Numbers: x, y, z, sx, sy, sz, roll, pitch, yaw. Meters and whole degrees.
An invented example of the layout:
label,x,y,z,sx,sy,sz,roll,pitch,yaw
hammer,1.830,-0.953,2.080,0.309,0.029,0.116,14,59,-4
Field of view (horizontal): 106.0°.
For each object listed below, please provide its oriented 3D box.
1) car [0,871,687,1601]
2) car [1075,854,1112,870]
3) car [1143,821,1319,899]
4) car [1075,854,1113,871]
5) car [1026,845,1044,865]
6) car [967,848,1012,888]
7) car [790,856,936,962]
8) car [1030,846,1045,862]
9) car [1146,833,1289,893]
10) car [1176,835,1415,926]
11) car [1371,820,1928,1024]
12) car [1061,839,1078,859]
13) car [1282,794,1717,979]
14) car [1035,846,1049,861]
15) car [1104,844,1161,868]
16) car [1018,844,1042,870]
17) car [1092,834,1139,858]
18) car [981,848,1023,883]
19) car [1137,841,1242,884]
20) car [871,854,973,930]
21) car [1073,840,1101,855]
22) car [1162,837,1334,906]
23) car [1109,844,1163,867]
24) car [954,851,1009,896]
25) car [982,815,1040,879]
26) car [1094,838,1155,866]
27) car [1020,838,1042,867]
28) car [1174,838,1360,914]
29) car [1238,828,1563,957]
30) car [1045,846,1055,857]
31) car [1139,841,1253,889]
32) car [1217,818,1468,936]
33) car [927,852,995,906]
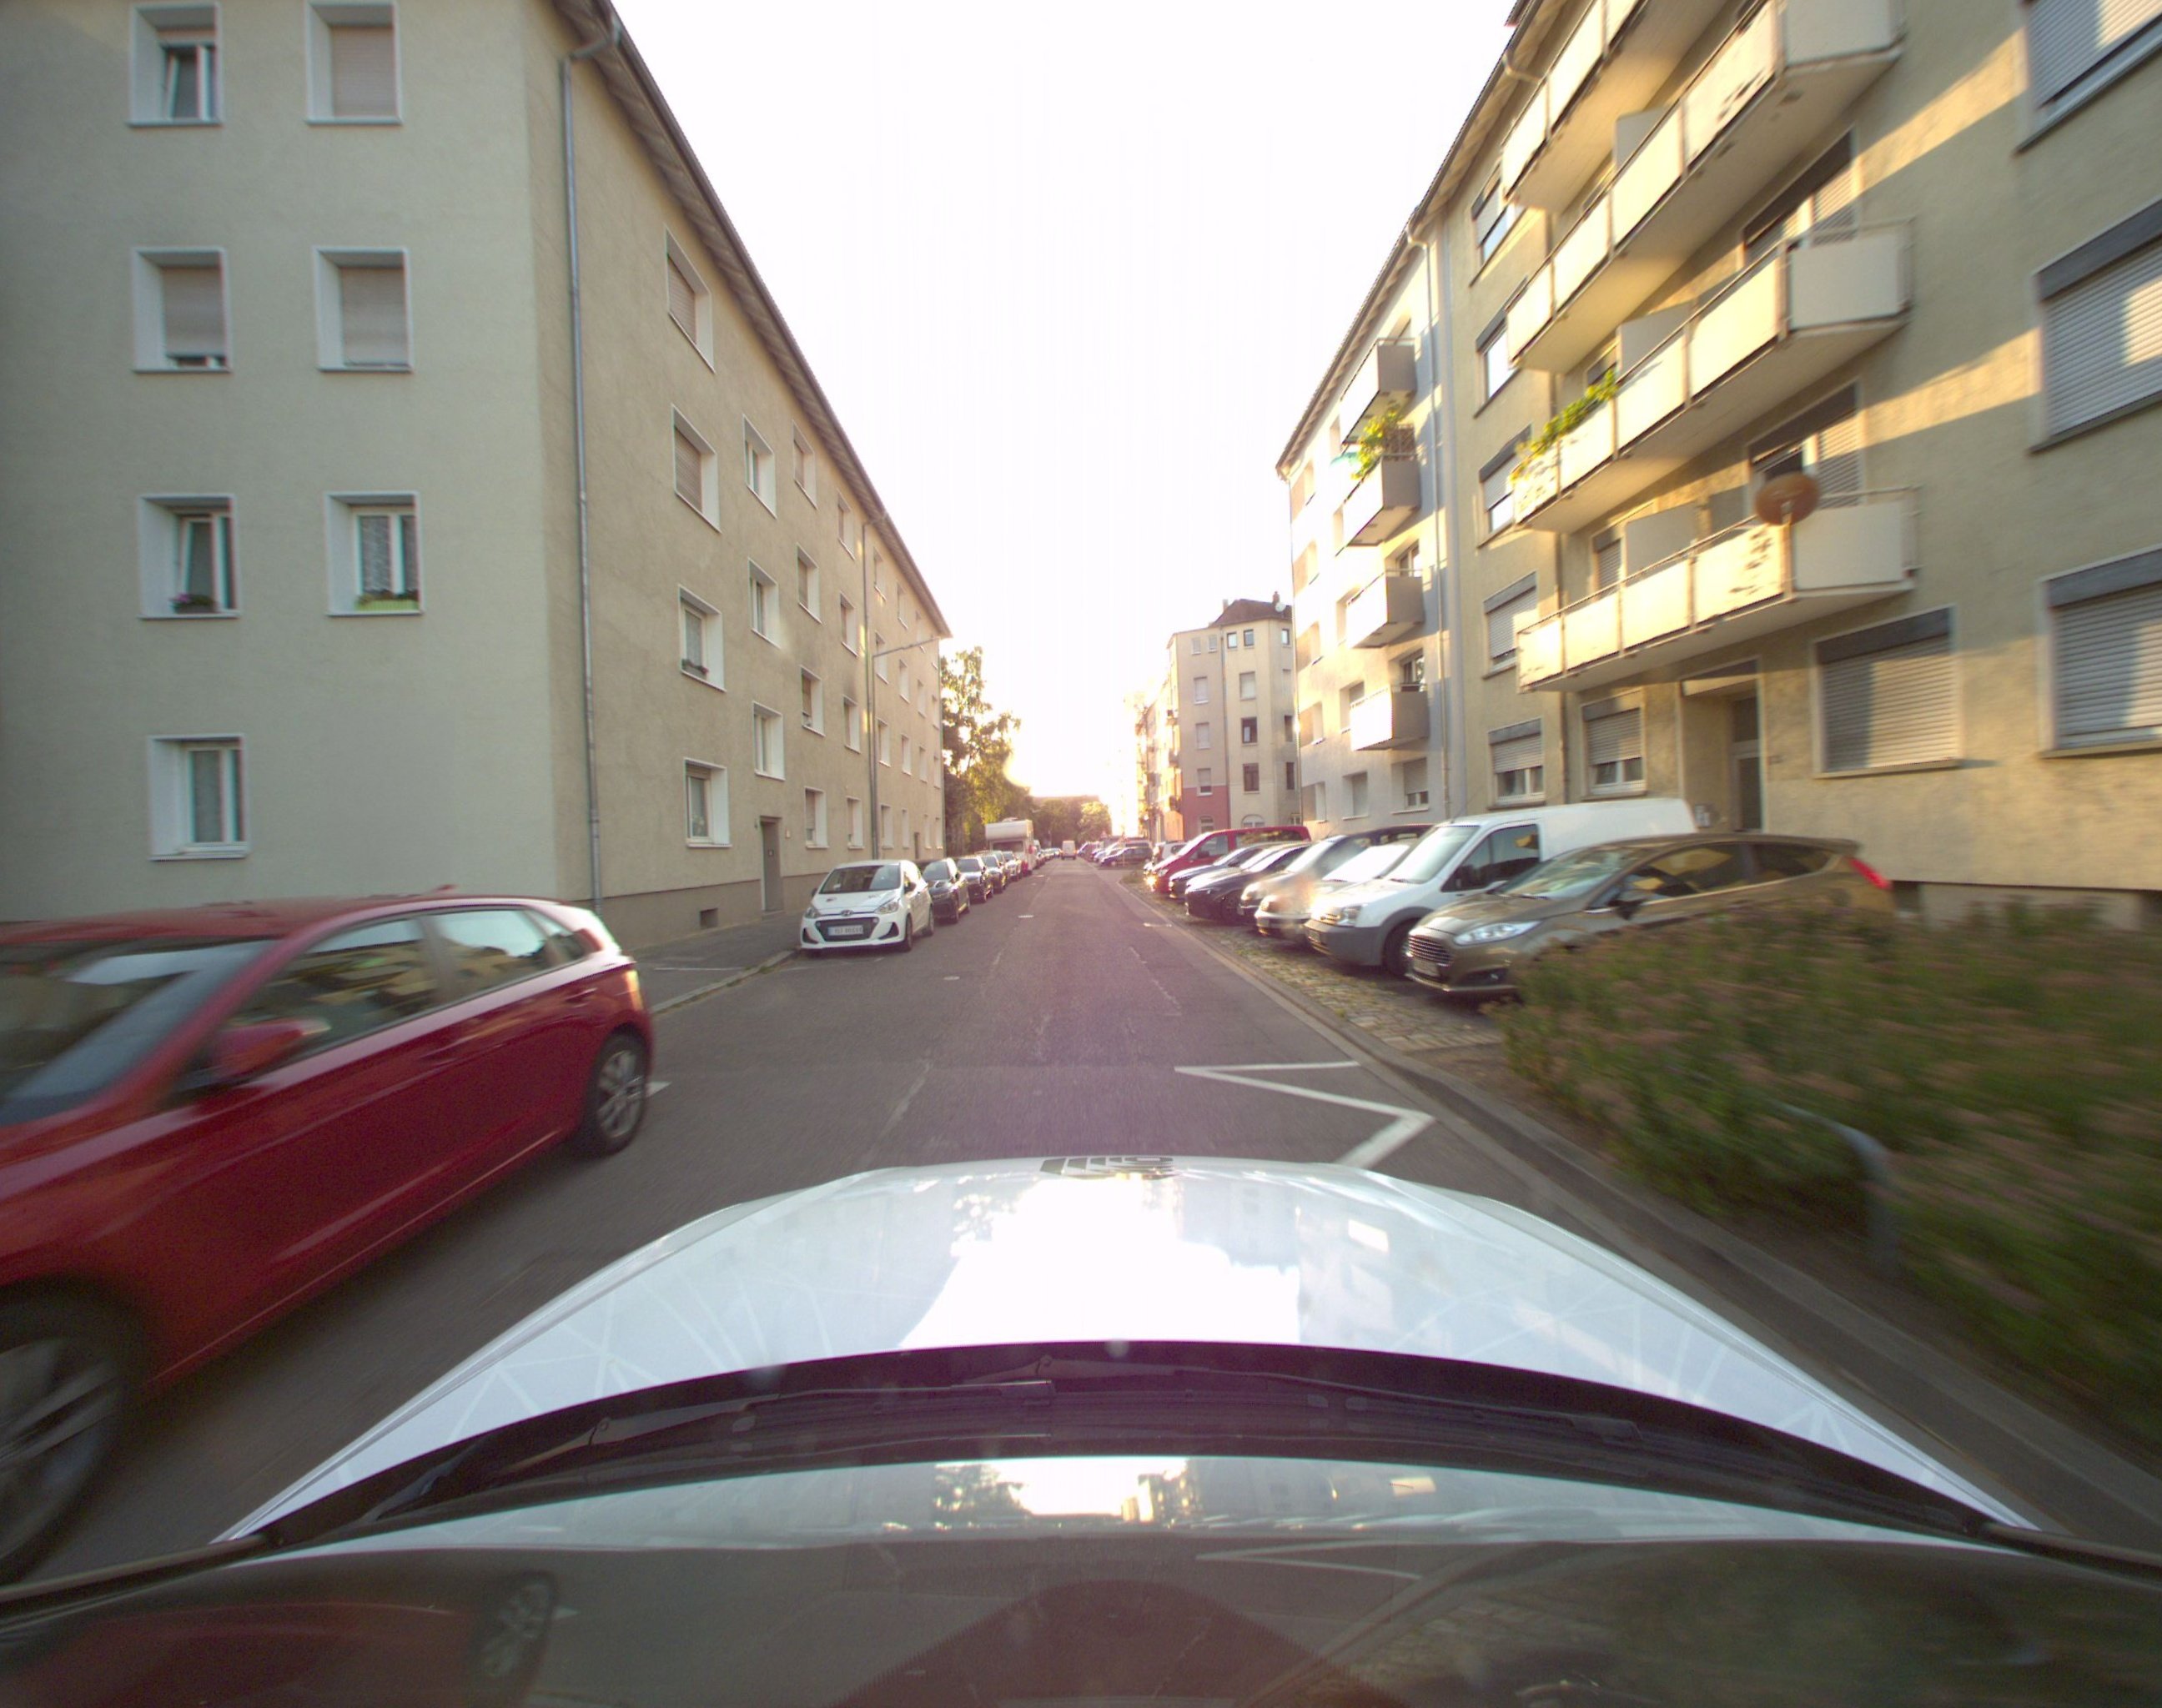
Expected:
label,x,y,z,sx,sy,sz,roll,pitch,yaw
car,-3.312,0.888,2.979,1.841,1.473,4.074,-2,0,-3
car,1.354,0.837,88.945,3.976,1.530,1.658,-3,1,-2
car,4.327,0.155,24.071,4.710,1.909,2.058,-4,0,-2
car,1.346,0.915,86.918,3.976,1.530,1.658,-3,1,-2
car,-4.579,0.063,81.397,1.649,1.830,3.872,-4,0,-3
car,-3.986,0.579,35.955,1.649,1.564,3.872,-4,1,-3
car,-3.598,0.828,14.051,1.612,1.473,3.501,-4,0,-3
car,-5.299,-0.035,99.718,1.649,1.830,3.872,-4,0,-3
car,4.450,0.281,26.976,4.313,1.637,1.817,-4,0,-2
car,4.182,0.501,16.303,4.296,1.449,1.654,-4,0,-1
car,4.897,0.533,7.413,3.861,1.492,1.741,-2,0,-1
car,-1.596,-0.697,115.135,2.124,2.717,4.829,-4,0,-3
car,4.759,0.345,9.697,4.267,1.860,1.741,-2,0,-1
car,-4.960,-0.105,104.677,1.649,1.830,3.872,-4,0,-3
car,3.793,0.164,60.448,3.976,1.530,1.658,-3,1,-2
car,-4.006,0.225,64.245,1.649,1.830,3.872,-4,0,-3
car,3.110,-0.718,73.551,3.981,2.013,1.997,-2,0,-5
car,-3.868,0.524,40.196,1.648,1.541,3.874,-4,1,-1
car,4.230,0.329,32.145,3.802,1.428,1.633,-4,0,-2
car,-3.590,0.795,19.050,1.655,1.434,4.027,-4,1,-3
car,1.018,-1.181,143.224,4.801,2.408,1.738,-3,1,-2
car,4.344,0.441,21.580,4.134,1.471,1.635,-4,0,-2
car,4.235,0.108,62.778,3.976,1.530,1.658,-3,1,-2
car,-3.648,0.669,30.350,1.649,1.434,3.872,-4,1,-3
car,-3.934,-0.437,47.441,2.612,3.268,7.694,-4,0,-1
car,3.549,-0.163,67.408,4.801,1.967,1.738,-3,1,-2
car,-4.580,-0.143,75.242,1.765,2.445,5.140,-4,0,-2
car,4.241,0.483,18.930,3.866,1.416,1.634,-4,0,-3
car,4.405,0.494,11.645,3.944,1.522,1.705,-3,0,-1
car,-5.368,-0.491,140.893,1.649,1.830,3.872,-4,0,-3
car,4.115,0.378,29.544,3.802,1.428,1.633,-4,0,-2
car,4.443,0.371,14.212,3.780,1.695,1.654,-4,0,-1
car,-3.659,0.726,25.386,1.649,1.434,3.792,-4,1,-3
